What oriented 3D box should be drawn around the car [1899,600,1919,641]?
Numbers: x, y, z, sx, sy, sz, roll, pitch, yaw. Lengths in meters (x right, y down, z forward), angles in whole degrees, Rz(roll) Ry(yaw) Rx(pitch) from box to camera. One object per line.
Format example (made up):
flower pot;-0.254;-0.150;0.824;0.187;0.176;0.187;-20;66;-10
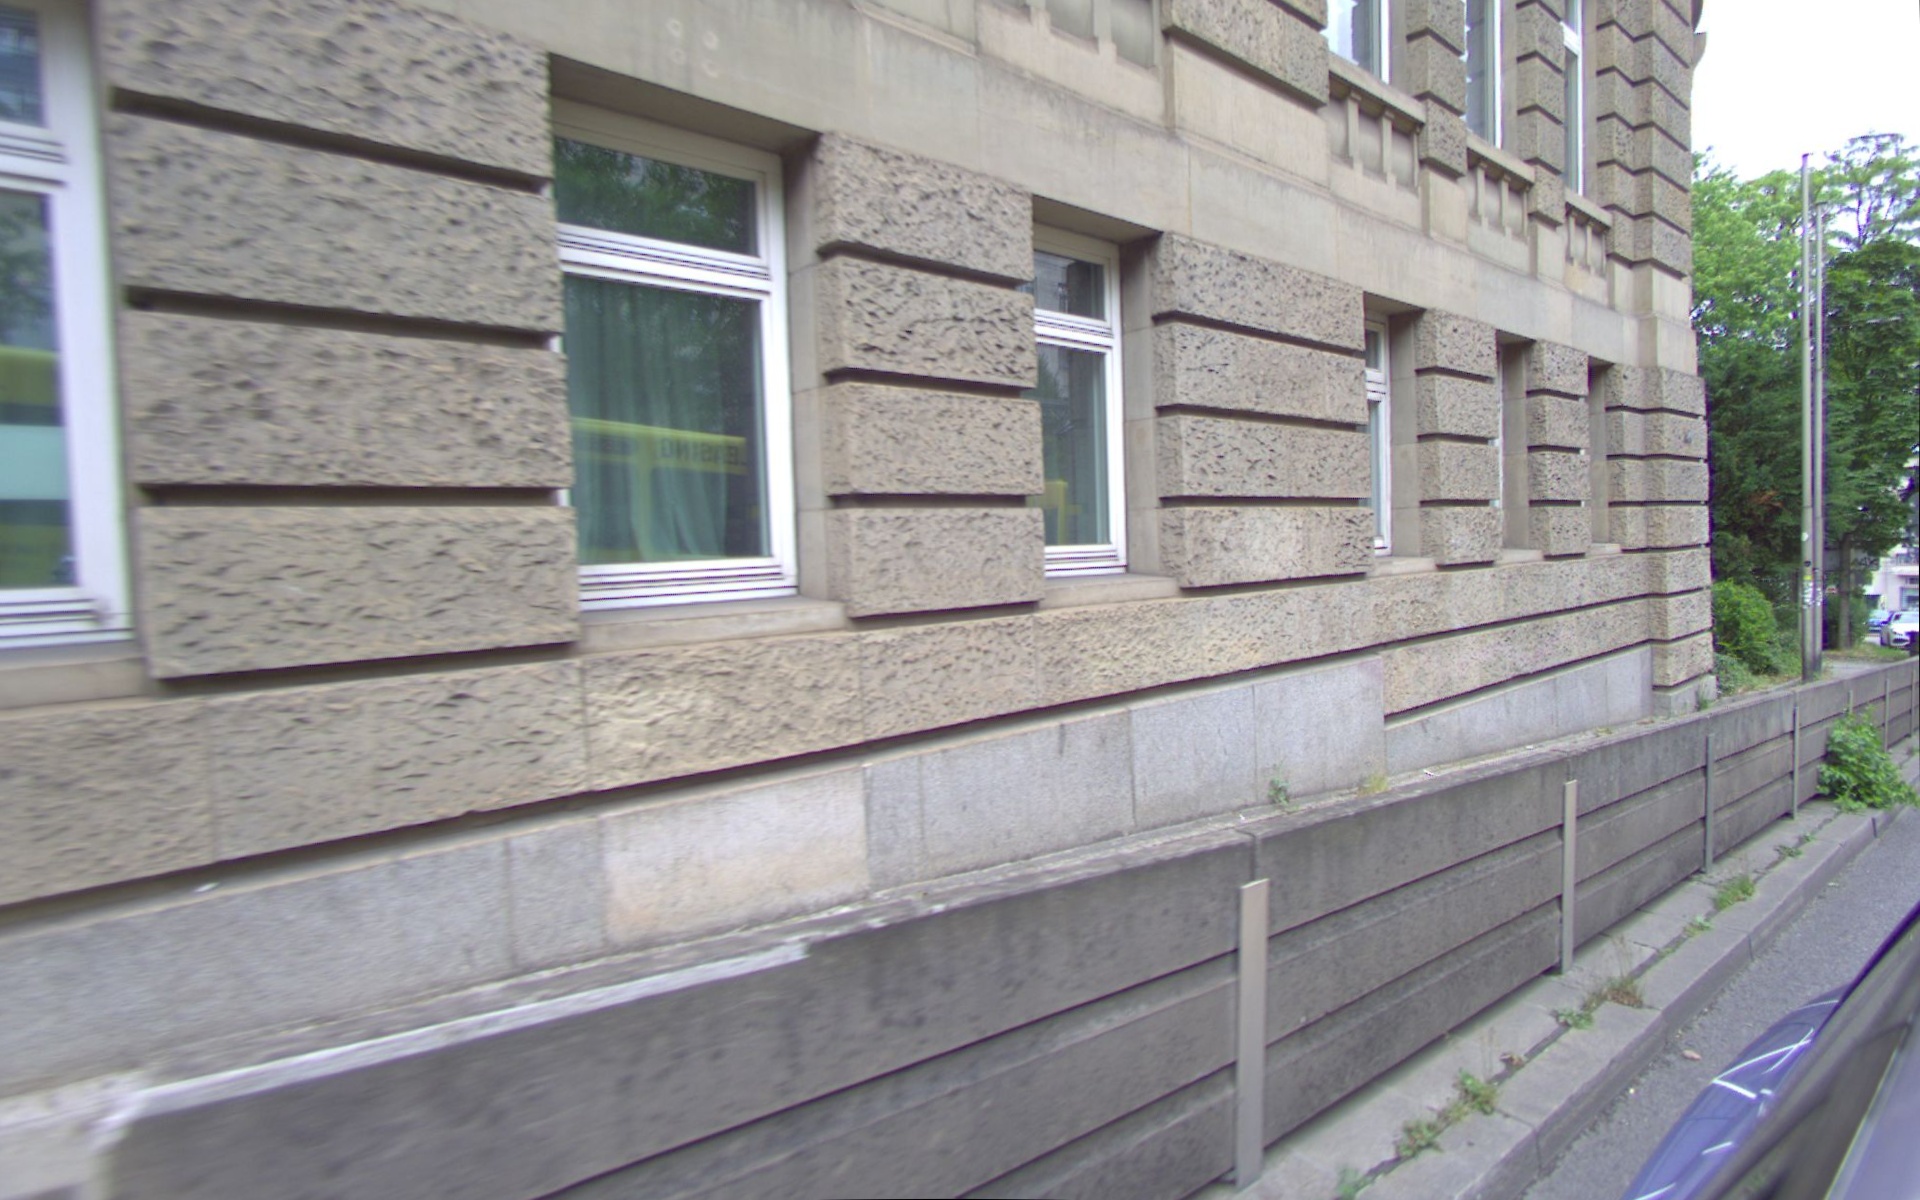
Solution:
car;36.057;0.770;37.416;1.818;1.467;3.790;1;0;45
